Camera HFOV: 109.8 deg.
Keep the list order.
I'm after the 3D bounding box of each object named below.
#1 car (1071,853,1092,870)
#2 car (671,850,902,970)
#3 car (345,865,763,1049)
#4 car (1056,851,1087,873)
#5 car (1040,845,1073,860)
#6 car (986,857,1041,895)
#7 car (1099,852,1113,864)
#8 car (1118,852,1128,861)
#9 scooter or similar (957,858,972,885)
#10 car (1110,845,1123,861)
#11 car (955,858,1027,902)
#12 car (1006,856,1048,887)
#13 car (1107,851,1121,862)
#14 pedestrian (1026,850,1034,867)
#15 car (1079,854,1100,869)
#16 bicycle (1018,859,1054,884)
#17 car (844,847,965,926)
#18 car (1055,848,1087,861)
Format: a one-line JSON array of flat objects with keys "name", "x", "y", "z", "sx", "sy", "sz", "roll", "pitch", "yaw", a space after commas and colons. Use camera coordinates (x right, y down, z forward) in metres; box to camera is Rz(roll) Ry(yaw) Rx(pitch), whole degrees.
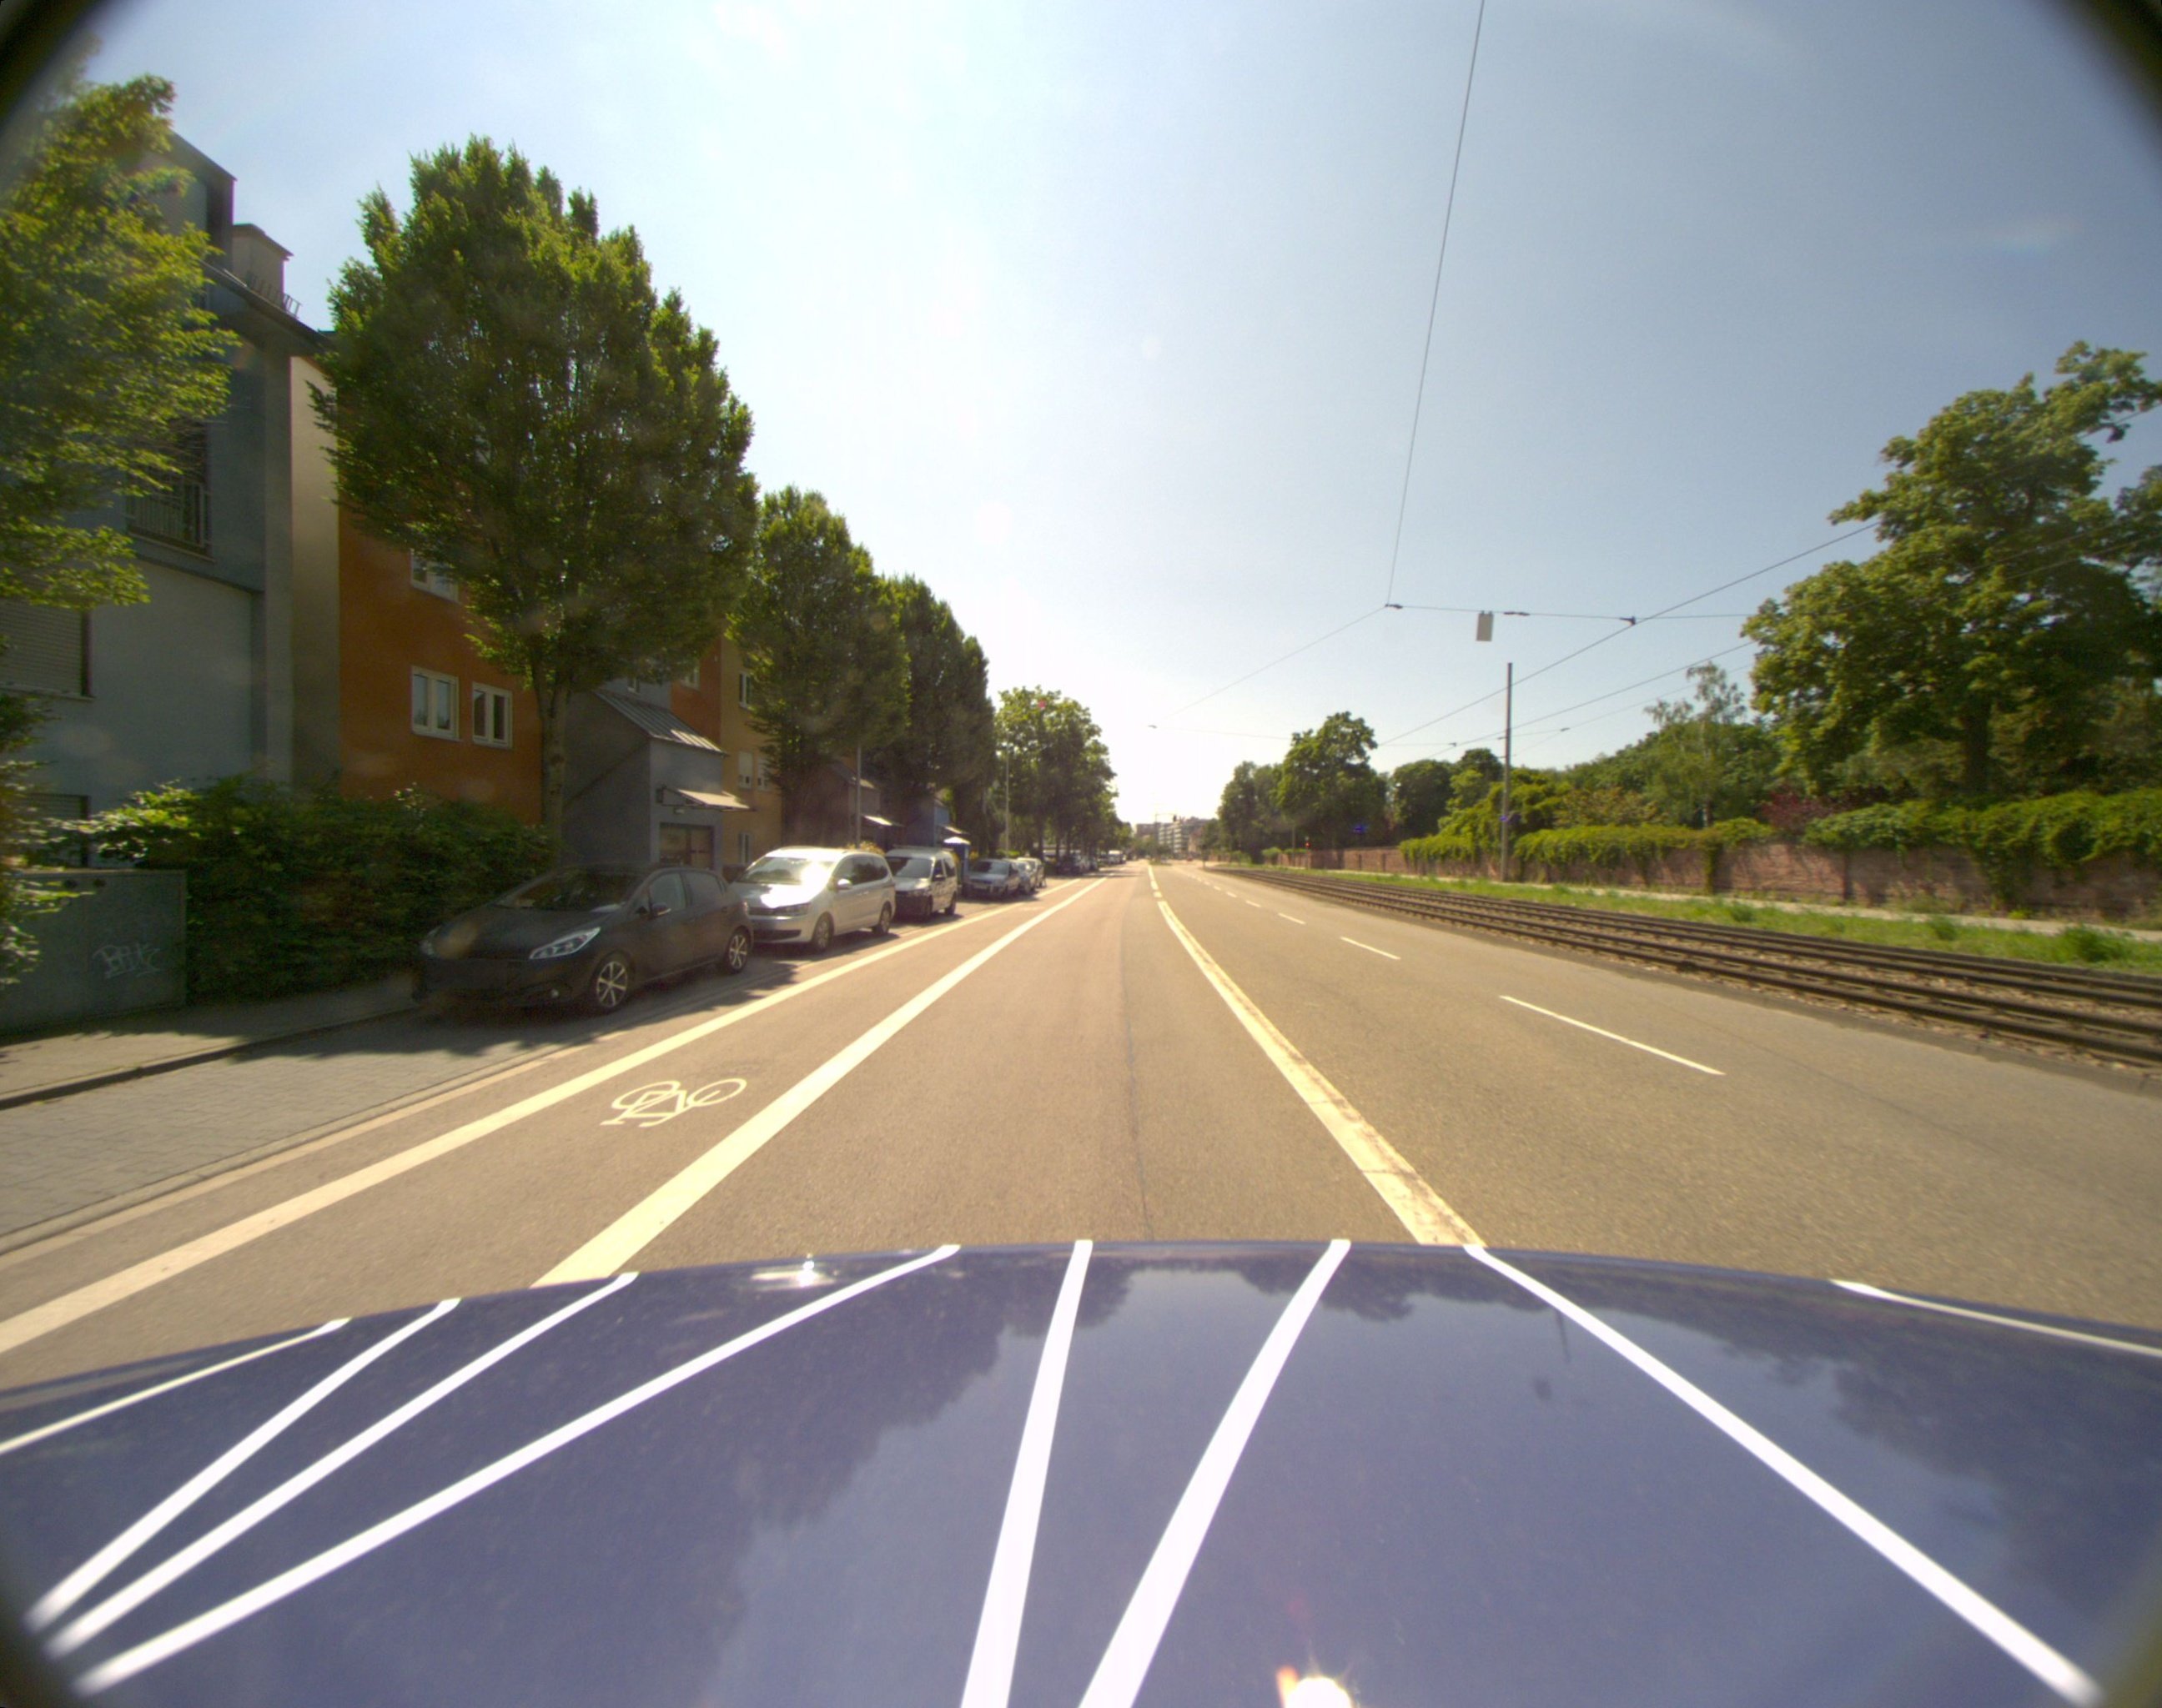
[{"name": "car", "x": 0.081, "y": 0.708, "z": 73.146, "sx": 1.845, "sy": 1.520, "sz": 4.206, "roll": 3, "pitch": 0, "yaw": 2}, {"name": "car", "x": -4.954, "y": 0.839, "z": 13.669, "sx": 1.844, "sy": 1.684, "sz": 4.780, "roll": 3, "pitch": 0, "yaw": 5}, {"name": "car", "x": -5.340, "y": 0.897, "z": 8.506, "sx": 1.587, "sy": 1.415, "sz": 4.180, "roll": 3, "pitch": 0, "yaw": 2}, {"name": "car", "x": -0.722, "y": 0.628, "z": 61.702, "sx": 1.844, "sy": 1.696, "sz": 4.628, "roll": 3, "pitch": 0, "yaw": 6}, {"name": "car", "x": -4.318, "y": -0.242, "z": 134.096, "sx": 5.501, "sy": 2.445, "sz": 2.096, "roll": -2, "pitch": 0, "yaw": 6}, {"name": "car", "x": -3.028, "y": 0.930, "z": 35.031, "sx": 1.845, "sy": 1.520, "sz": 4.966, "roll": 3, "pitch": 0, "yaw": 2}, {"name": "car", "x": 3.642, "y": 0.566, "z": 110.714, "sx": 1.716, "sy": 1.623, "sz": 4.709, "roll": 3, "pitch": 1, "yaw": 5}, {"name": "car", "x": 9.476, "y": 0.536, "z": 169.820, "sx": 1.883, "sy": 1.905, "sz": 5.127, "roll": 3, "pitch": 0, "yaw": 6}, {"name": "scooter or similar", "x": -5.714, "y": 0.863, "z": 37.245, "sx": 0.385, "sy": 1.272, "sz": 1.339, "roll": -1, "pitch": 0, "yaw": 5}, {"name": "car", "x": 6.555, "y": -0.175, "z": 140.431, "sx": 2.002, "sy": 2.621, "sz": 6.145, "roll": 3, "pitch": 0, "yaw": 5}, {"name": "car", "x": -3.476, "y": 0.951, "z": 30.110, "sx": 1.844, "sy": 1.520, "sz": 4.218, "roll": 3, "pitch": 0, "yaw": 7}, {"name": "car", "x": -2.809, "y": 0.882, "z": 40.138, "sx": 1.522, "sy": 1.520, "sz": 3.818, "roll": 3, "pitch": 0, "yaw": 5}, {"name": "car", "x": 5.814, "y": 0.482, "z": 133.533, "sx": 2.001, "sy": 1.867, "sz": 5.279, "roll": 3, "pitch": 0, "yaw": 7}, {"name": "pedestrian", "x": -5.210, "y": 0.457, "z": 77.806, "sx": 0.749, "sy": 1.712, "sz": 0.633, "roll": 0, "pitch": 1, "yaw": -1}, {"name": "car", "x": 0.912, "y": 0.737, "z": 78.984, "sx": 1.845, "sy": 1.427, "sz": 4.825, "roll": 3, "pitch": 0, "yaw": 3}, {"name": "bicycle", "x": -2.479, "y": 0.977, "z": 42.157, "sx": 1.776, "sy": 1.221, "sz": 0.684, "roll": 5, "pitch": 2, "yaw": 9}, {"name": "car", "x": -4.485, "y": 0.768, "z": 20.055, "sx": 1.845, "sy": 1.783, "sz": 4.355, "roll": 3, "pitch": 0, "yaw": 4}, {"name": "car", "x": -2.129, "y": 0.009, "z": 158.667, "sx": 6.353, "sy": 2.514, "sz": 2.264, "roll": -2, "pitch": 0, "yaw": 8}]
